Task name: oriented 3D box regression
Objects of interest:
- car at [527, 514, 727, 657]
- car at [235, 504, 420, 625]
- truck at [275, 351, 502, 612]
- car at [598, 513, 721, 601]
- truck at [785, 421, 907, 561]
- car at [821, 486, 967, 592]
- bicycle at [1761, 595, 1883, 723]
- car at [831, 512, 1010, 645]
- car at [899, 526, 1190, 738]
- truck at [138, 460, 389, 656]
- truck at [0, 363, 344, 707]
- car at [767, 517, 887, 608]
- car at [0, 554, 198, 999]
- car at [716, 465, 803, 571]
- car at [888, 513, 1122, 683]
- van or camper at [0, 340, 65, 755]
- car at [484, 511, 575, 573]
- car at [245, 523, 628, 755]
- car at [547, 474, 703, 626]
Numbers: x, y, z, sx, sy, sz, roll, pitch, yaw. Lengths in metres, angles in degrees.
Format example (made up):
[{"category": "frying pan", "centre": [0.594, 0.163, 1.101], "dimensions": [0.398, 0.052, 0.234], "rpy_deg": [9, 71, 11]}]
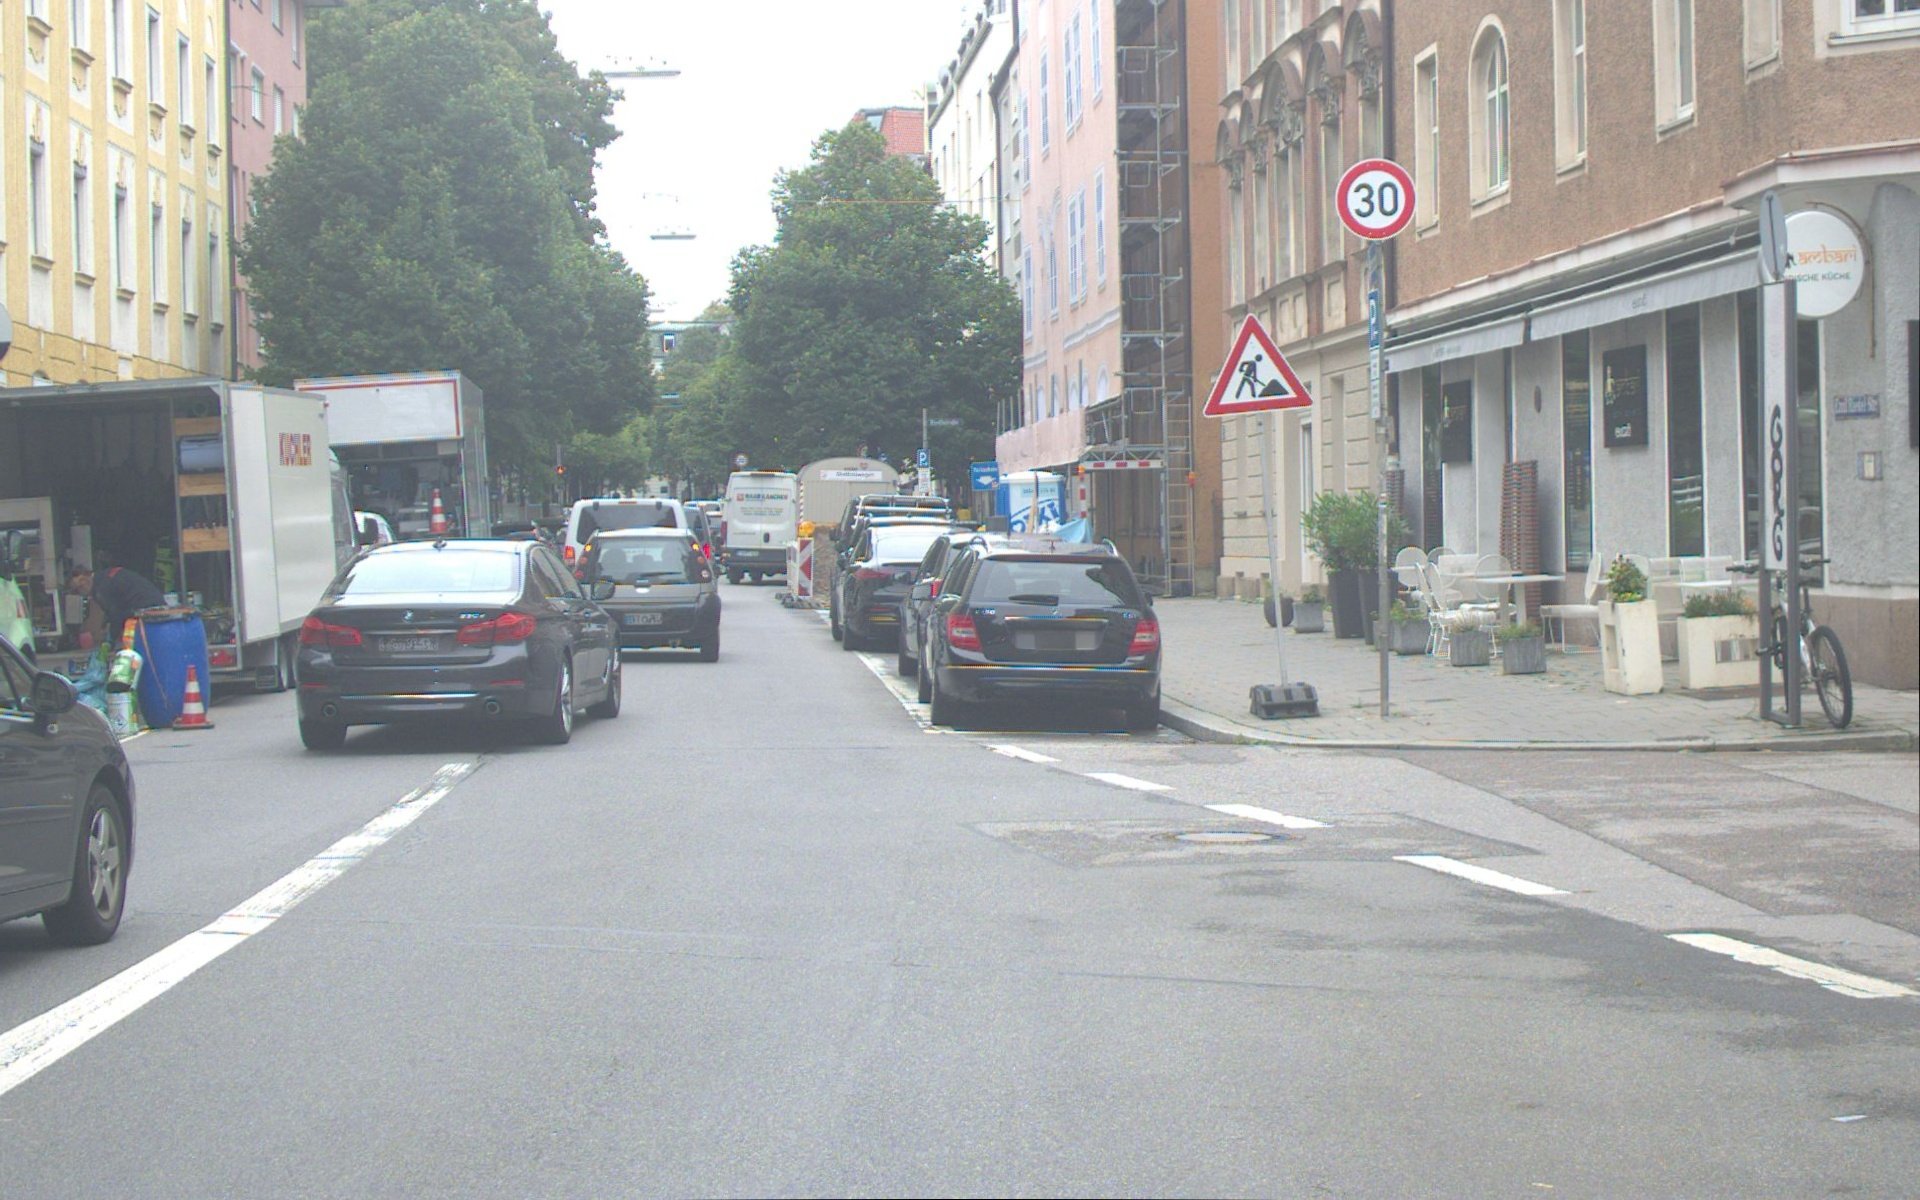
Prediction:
[{"category": "car", "centre": [-3.657, -0.202, 38.377], "dimensions": [1.990, 1.424, 4.141], "rpy_deg": [-1, 2, -3]}, {"category": "car", "centre": [-8.788, -0.526, 48.060], "dimensions": [1.990, 1.605, 4.141], "rpy_deg": [0, 1, -3]}, {"category": "truck", "centre": [-9.132, -1.882, 55.621], "dimensions": [3.012, 3.938, 6.997], "rpy_deg": [0, 1, -5]}, {"category": "car", "centre": [-5.332, -0.792, 61.398], "dimensions": [1.990, 1.424, 4.141], "rpy_deg": [-1, 2, -3]}, {"category": "truck", "centre": [-2.554, -2.372, 75.748], "dimensions": [2.491, 2.963, 5.328], "rpy_deg": [0, 1, -4]}, {"category": "car", "centre": [-1.000, -0.919, 49.873], "dimensions": [1.990, 1.424, 4.141], "rpy_deg": [-1, 2, -3]}, {"category": "bicycle", "centre": [5.725, 0.381, 22.885], "dimensions": [0.456, 0.802, 1.326], "rpy_deg": [0, 1, -1]}, {"category": "car", "centre": [-0.532, -0.300, 41.883], "dimensions": [1.844, 1.424, 4.307], "rpy_deg": [2, 2, -5]}, {"category": "car", "centre": [0.585, 0.194, 27.294], "dimensions": [1.844, 1.424, 4.184], "rpy_deg": [2, 2, -5]}, {"category": "truck", "centre": [-8.161, -0.526, 40.719], "dimensions": [2.286, 2.164, 4.807], "rpy_deg": [0, 1, -4]}, {"category": "truck", "centre": [-7.610, -0.679, 32.495], "dimensions": [2.773, 2.863, 7.203], "rpy_deg": [-1, 2, -4]}, {"category": "car", "centre": [-2.319, -0.674, 59.600], "dimensions": [1.990, 1.424, 4.141], "rpy_deg": [-1, 2, -3]}, {"category": "car", "centre": [-4.058, 0.605, 11.620], "dimensions": [1.759, 1.456, 4.074], "rpy_deg": [-1, 1, 4]}, {"category": "car", "centre": [-4.792, -1.970, 82.655], "dimensions": [1.939, 2.471, 4.783], "rpy_deg": [0, 1, -2]}, {"category": "car", "centre": [0.366, -0.064, 33.216], "dimensions": [1.844, 1.424, 4.141], "rpy_deg": [2, 2, -5]}, {"category": "van or camper", "centre": [-7.797, -0.298, 22.246], "dimensions": [2.600, 2.830, 6.187], "rpy_deg": [-1, 2, -3]}, {"category": "car", "centre": [-10.334, -1.416, 82.698], "dimensions": [1.939, 1.443, 3.867], "rpy_deg": [0, 1, -4]}, {"category": "car", "centre": [-3.694, 0.203, 25.155], "dimensions": [1.990, 1.424, 4.906], "rpy_deg": [-1, 2, 1]}, {"category": "car", "centre": [-4.780, -0.768, 49.581], "dimensions": [1.990, 2.068, 4.141], "rpy_deg": [-1, 2, -3]}]
